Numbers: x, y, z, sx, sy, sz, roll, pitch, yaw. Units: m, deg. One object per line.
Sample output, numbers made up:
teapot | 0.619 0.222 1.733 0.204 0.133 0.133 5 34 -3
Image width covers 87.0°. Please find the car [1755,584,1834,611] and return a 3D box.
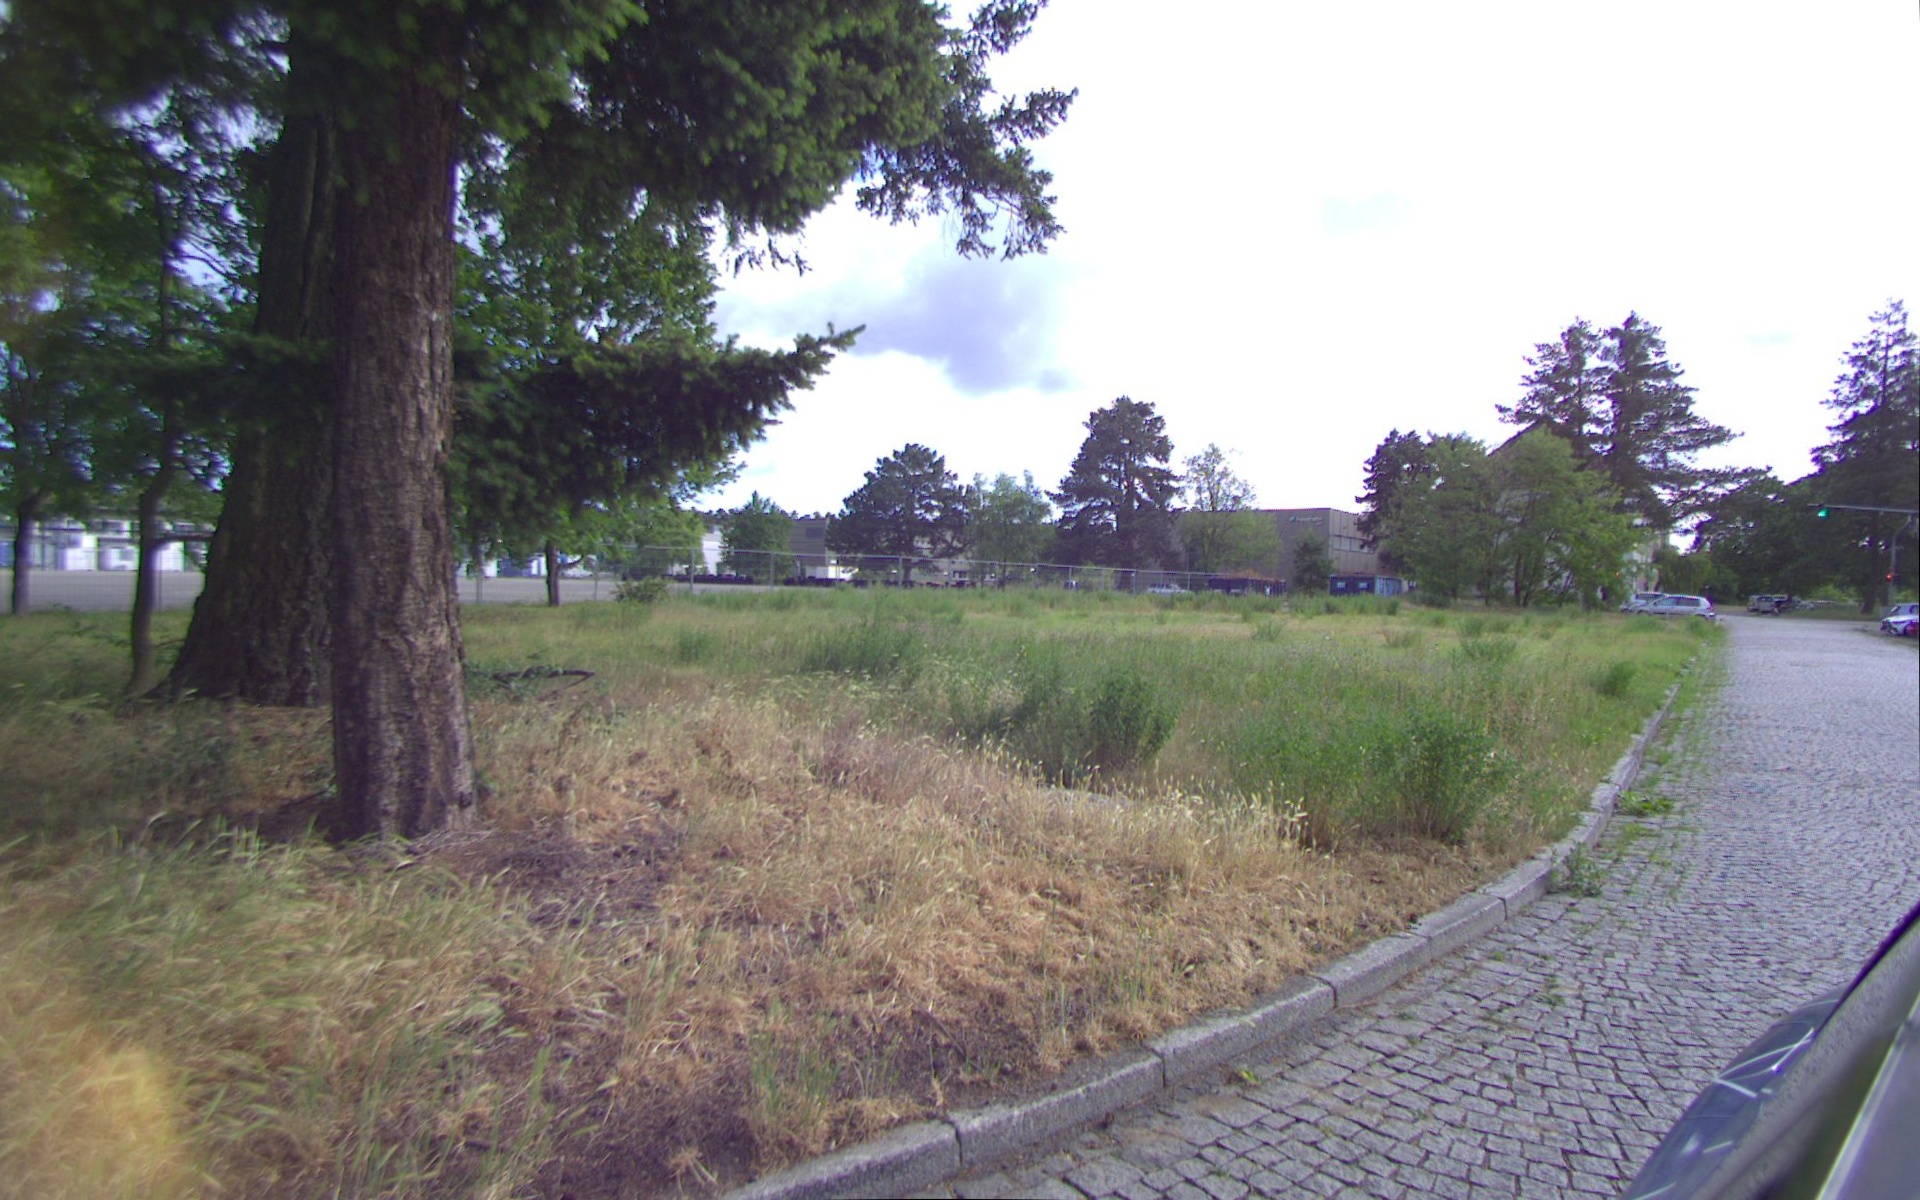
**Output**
car | 83.884 -0.249 101.904 5.756 2.595 2.737 -1 0 33

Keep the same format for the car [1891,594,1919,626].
car | 46.286 0.456 47.507 3.424 1.450 1.612 -1 0 29

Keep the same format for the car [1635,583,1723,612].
car | 37.592 -0.135 53.009 3.707 1.456 1.606 0 1 35

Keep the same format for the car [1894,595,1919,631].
car | 42.657 0.532 43.366 3.543 1.506 1.585 -1 0 31

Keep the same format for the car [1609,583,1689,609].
car | 39.579 -0.221 58.225 3.701 1.456 1.609 -1 0 31

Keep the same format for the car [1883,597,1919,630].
car | 44.186 0.594 45.657 3.551 1.477 1.606 -1 0 36

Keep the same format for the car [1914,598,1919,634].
car | 40.158 0.613 39.784 3.545 1.434 1.620 -1 0 32

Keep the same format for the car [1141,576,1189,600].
car | 18.282 -1.070 90.350 3.697 1.928 2.001 3 0 -2
